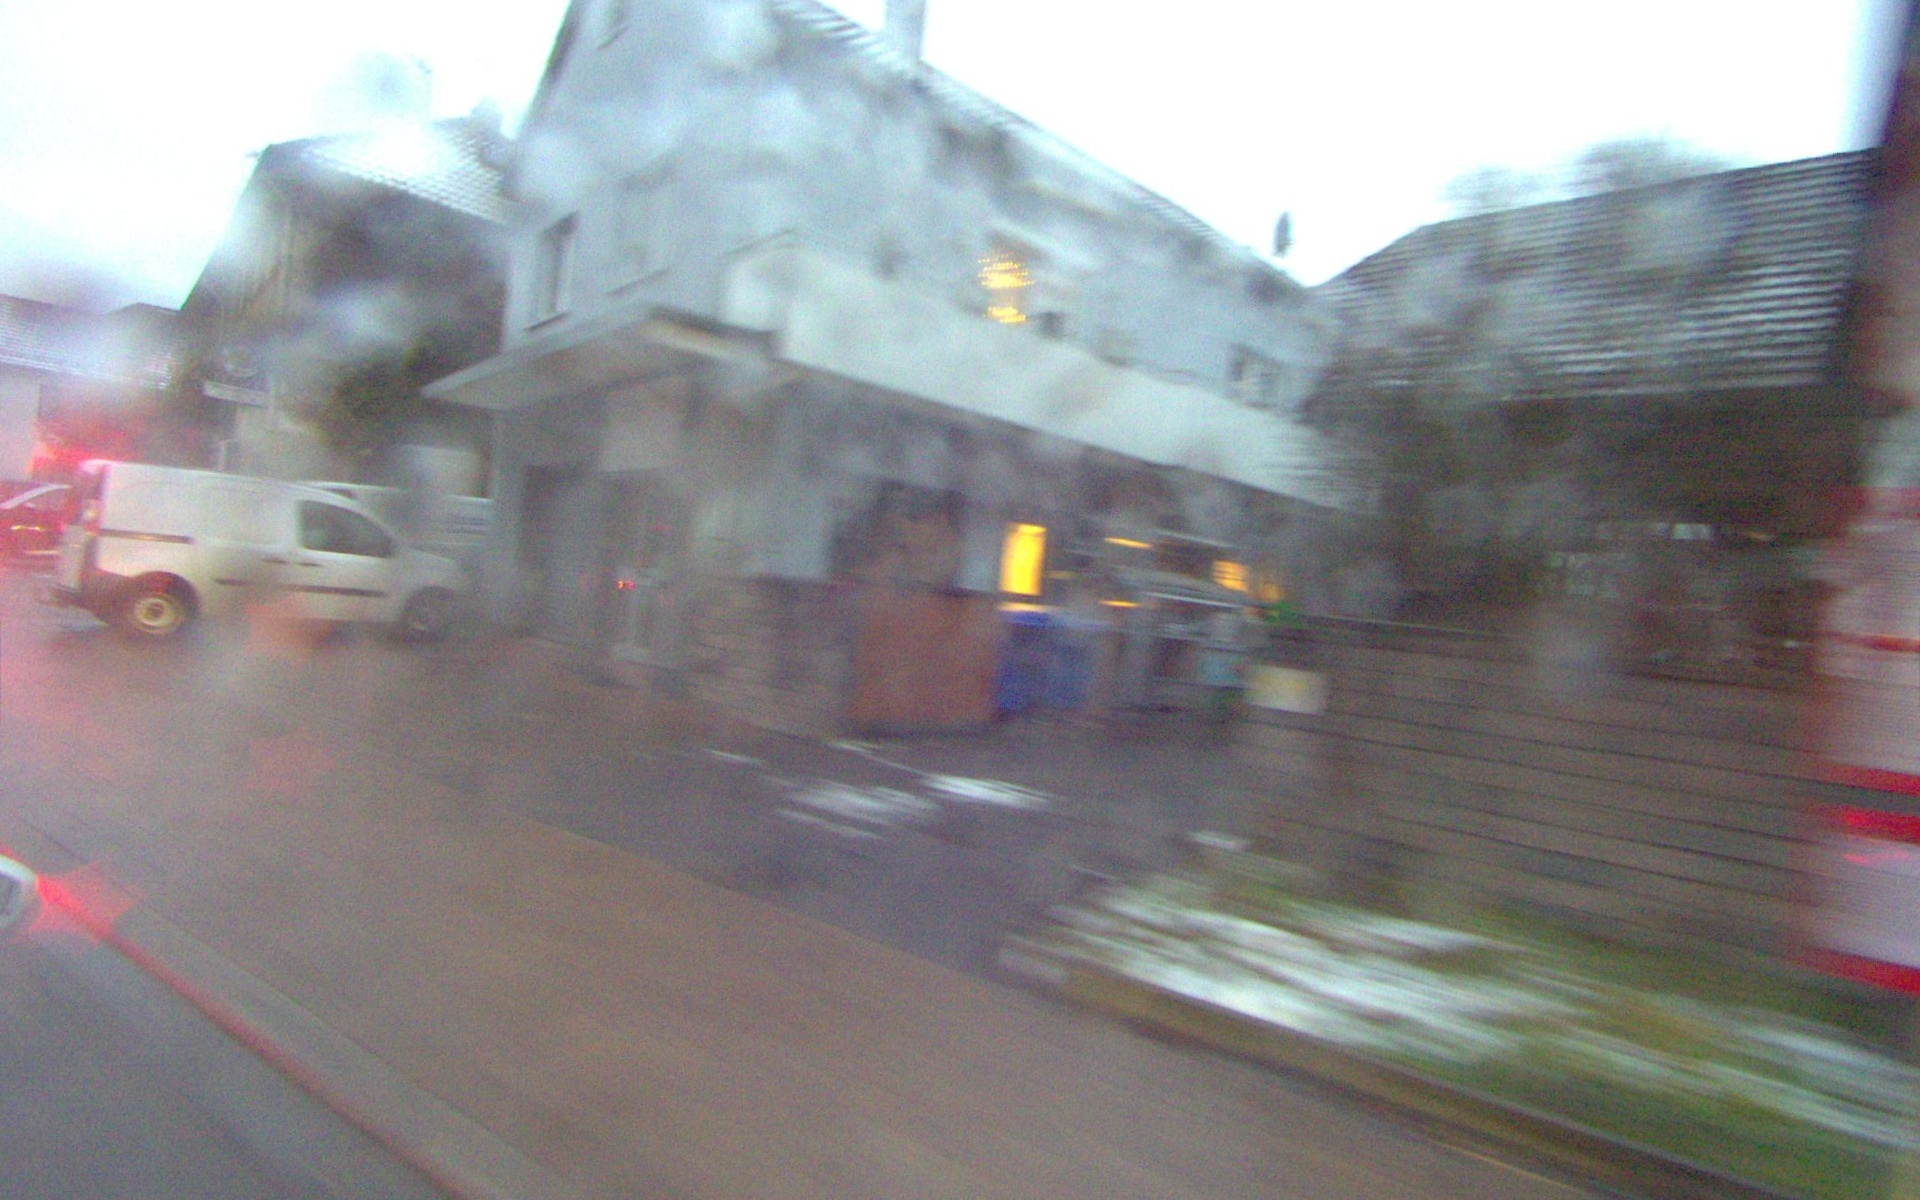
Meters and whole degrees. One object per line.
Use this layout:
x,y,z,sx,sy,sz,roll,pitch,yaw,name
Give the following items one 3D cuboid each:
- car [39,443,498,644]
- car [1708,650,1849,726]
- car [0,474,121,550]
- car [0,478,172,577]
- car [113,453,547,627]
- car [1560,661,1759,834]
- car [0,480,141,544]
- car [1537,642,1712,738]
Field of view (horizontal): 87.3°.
-7.898,-0.541,11.784,1.837,1.867,4.034,7,2,40,car
19.279,2.086,23.666,3.477,1.438,1.687,6,0,-37,car
-22.619,-2.205,24.962,1.531,1.567,2.574,8,2,45,car
-16.209,-1.323,18.302,2.754,1.493,1.409,5,2,-45,car
-8.902,-0.763,14.578,1.912,1.914,4.964,8,2,45,car
8.161,1.546,11.637,1.595,1.562,3.411,3,0,38,car
-27.029,-2.657,30.025,3.884,1.493,1.730,5,1,-42,car
14.231,1.829,21.445,4.698,1.625,2.046,3,2,-44,car
